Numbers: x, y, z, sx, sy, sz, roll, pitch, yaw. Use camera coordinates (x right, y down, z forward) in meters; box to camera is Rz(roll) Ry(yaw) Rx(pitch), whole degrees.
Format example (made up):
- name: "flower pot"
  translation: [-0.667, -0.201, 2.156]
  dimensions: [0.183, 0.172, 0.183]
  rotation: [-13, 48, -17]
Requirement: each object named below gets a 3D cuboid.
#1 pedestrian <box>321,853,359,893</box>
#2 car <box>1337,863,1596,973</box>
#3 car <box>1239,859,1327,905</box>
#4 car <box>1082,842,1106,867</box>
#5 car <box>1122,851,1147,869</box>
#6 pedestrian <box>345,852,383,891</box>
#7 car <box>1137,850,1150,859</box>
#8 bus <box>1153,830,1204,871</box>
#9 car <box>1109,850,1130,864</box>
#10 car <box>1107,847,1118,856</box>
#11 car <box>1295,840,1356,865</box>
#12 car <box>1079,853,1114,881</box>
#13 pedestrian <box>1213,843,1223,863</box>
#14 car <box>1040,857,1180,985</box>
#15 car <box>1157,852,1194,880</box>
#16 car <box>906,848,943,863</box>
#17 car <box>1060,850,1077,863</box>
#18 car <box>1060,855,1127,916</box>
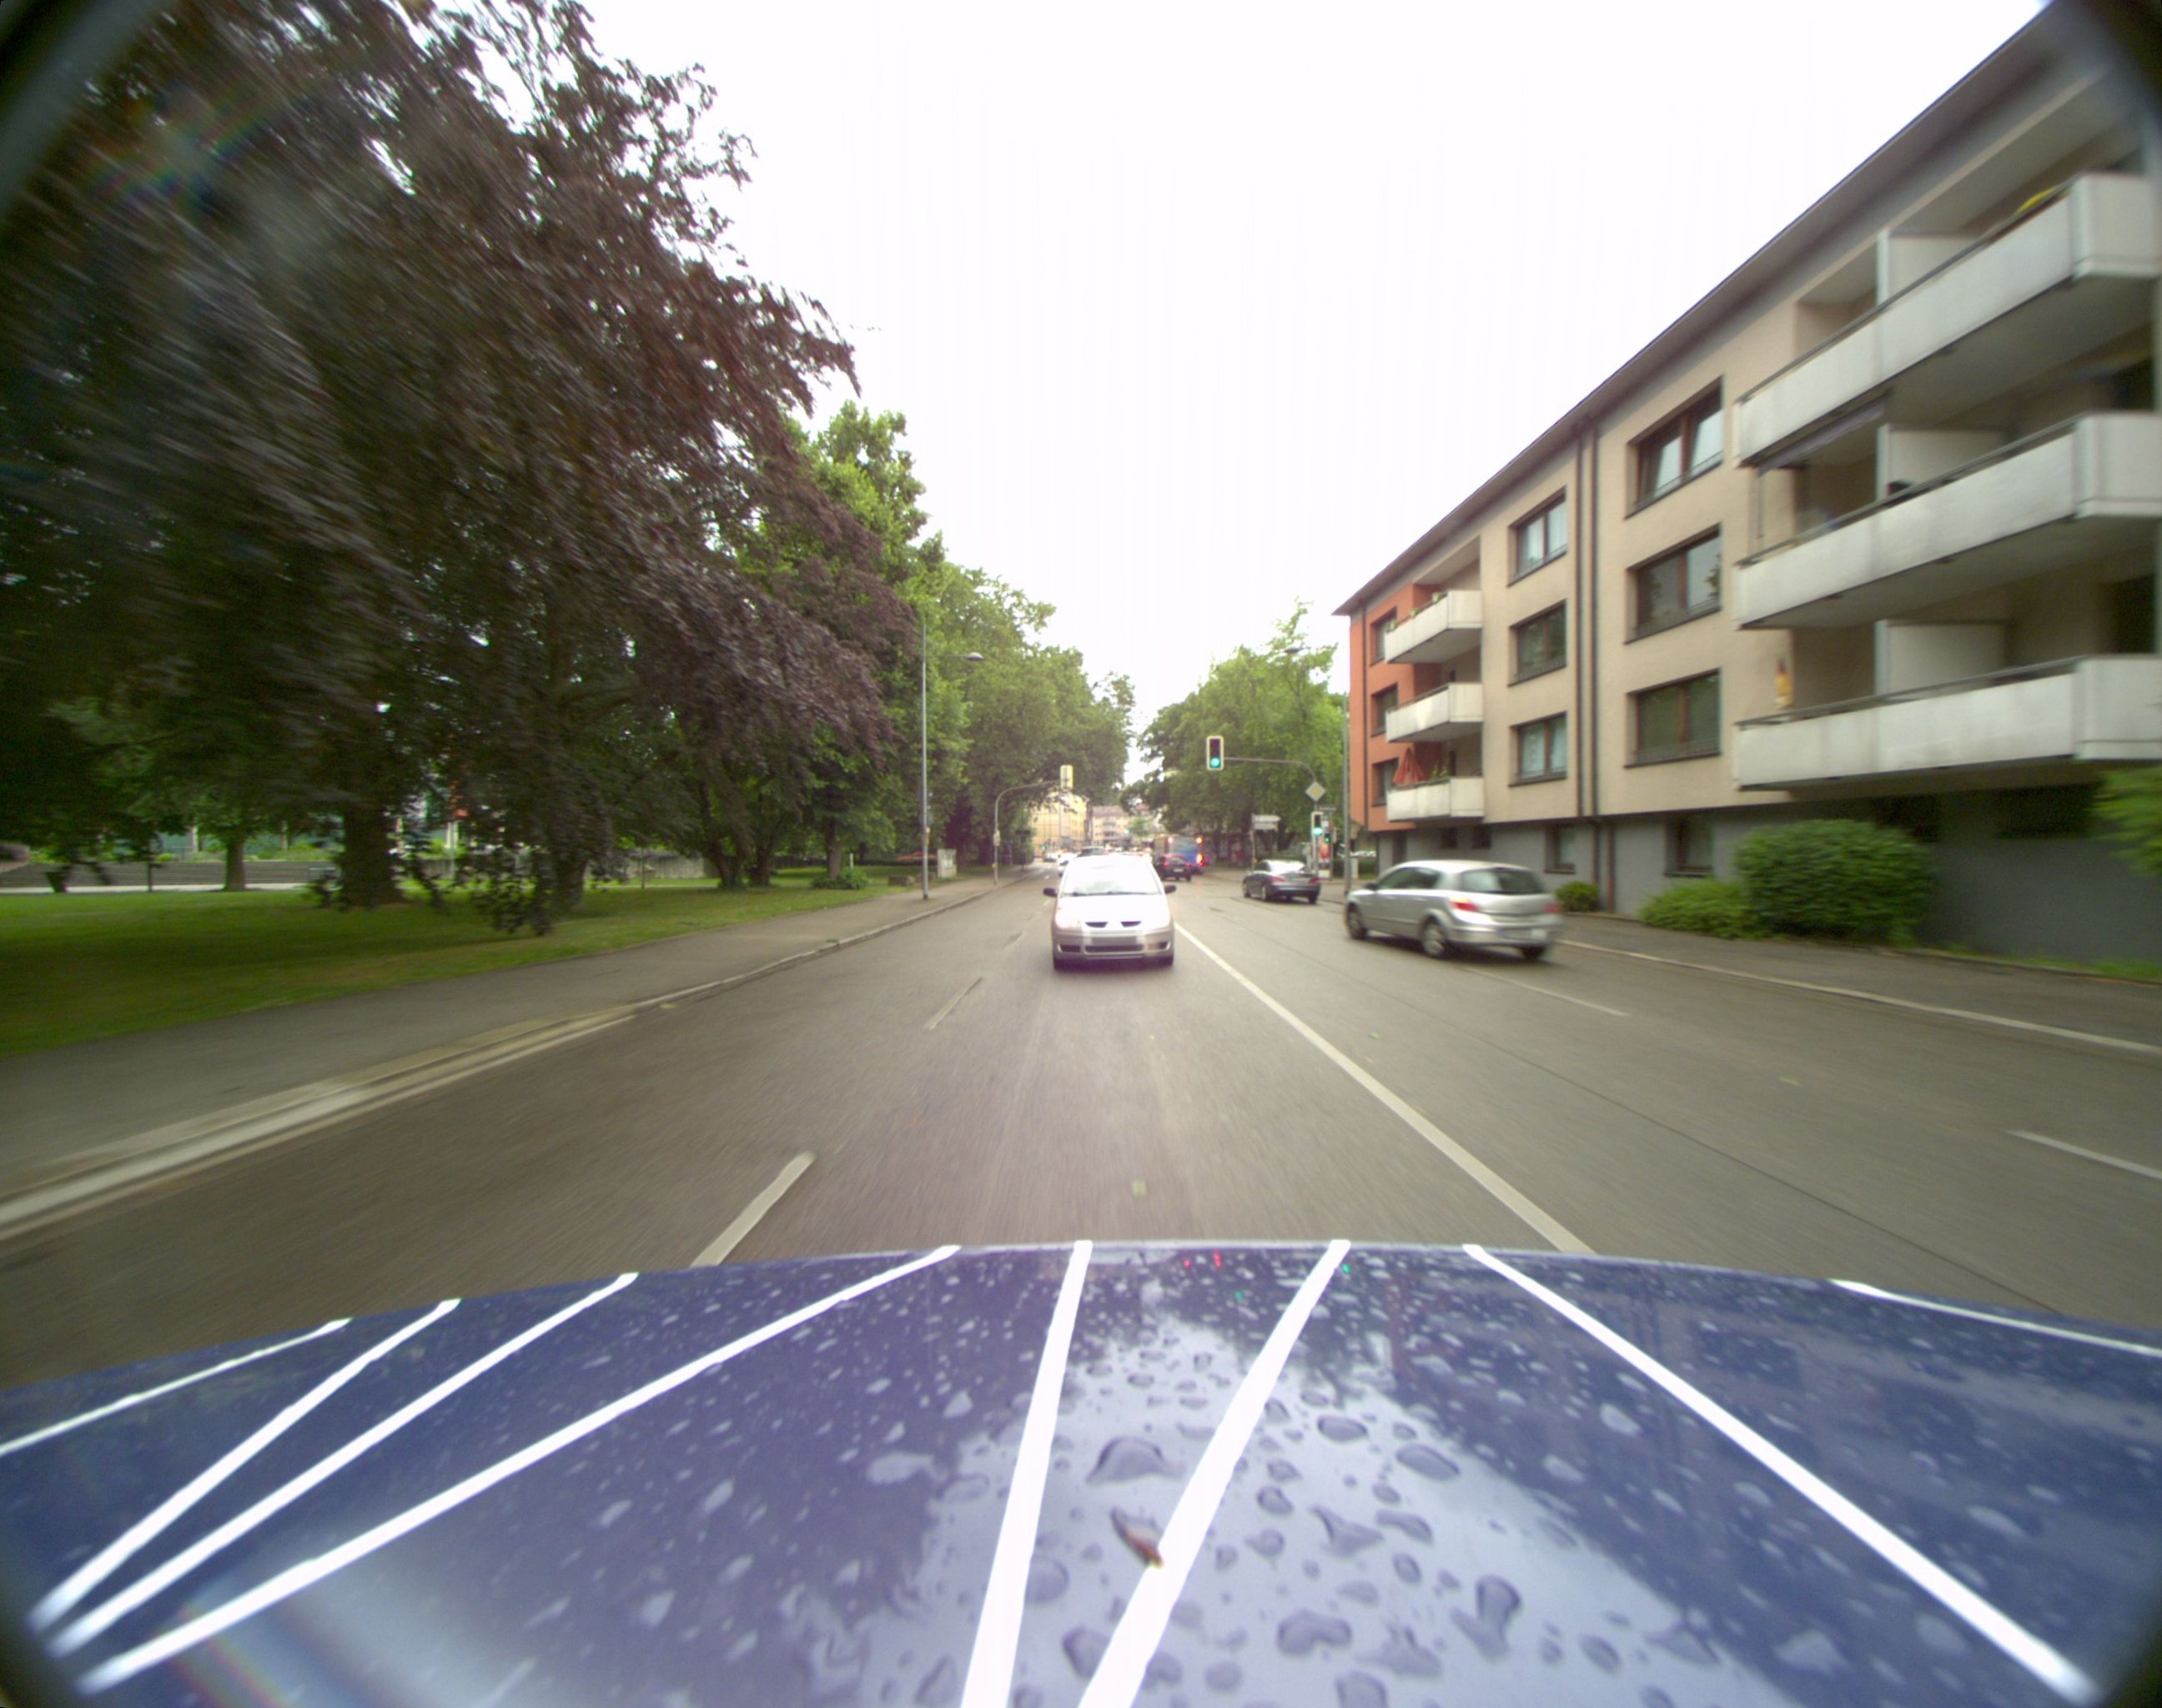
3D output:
- name: "pedestrian"
  translation: [-33.828, 0.862, 34.702]
  dimensions: [0.840, 1.753, 0.771]
  rotation: [-3, 1, -5]
- name: "car"
  translation: [5.829, 0.881, 12.141]
  dimensions: [1.818, 1.407, 4.046]
  rotation: [0, 0, -5]
- name: "car"
  translation: [6.879, 0.909, 26.393]
  dimensions: [1.817, 1.407, 4.682]
  rotation: [0, 0, 0]
- name: "car"
  translation: [1.134, 0.022, 66.120]
  dimensions: [2.037, 2.119, 3.999]
  rotation: [-1, 1, 2]
- name: "car"
  translation: [4.401, 0.478, 62.752]
  dimensions: [1.798, 1.407, 4.335]
  rotation: [0, 0, 0]
- name: "pedestrian"
  translation: [-33.667, 0.800, 35.701]
  dimensions: [0.840, 1.753, 0.879]
  rotation: [-3, 1, -5]
- name: "car"
  translation: [10.917, 0.153, 133.405]
  dimensions: [1.802, 1.508, 4.807]
  rotation: [1, 0, 0]
- name: "bus"
  translation: [7.673, -0.343, 61.285]
  dimensions: [2.700, 2.923, 12.082]
  rotation: [0, 1, 1]
- name: "car"
  translation: [4.115, 0.317, 80.347]
  dimensions: [1.799, 1.449, 4.493]
  rotation: [1, 0, 8]
- name: "car"
  translation: [5.584, -0.439, 136.331]
  dimensions: [1.802, 1.508, 4.580]
  rotation: [1, 0, 0]
- name: "car"
  translation: [19.570, -0.115, 60.814]
  dimensions: [4.334, 1.911, 1.702]
  rotation: [0, 1, -2]
- name: "car"
  translation: [0.859, 0.669, 41.937]
  dimensions: [1.800, 1.449, 4.491]
  rotation: [0, 0, 2]
- name: "pedestrian"
  translation: [12.140, -0.068, 67.343]
  dimensions: [0.711, 1.759, 0.687]
  rotation: [-3, 1, 1]
- name: "car"
  translation: [0.390, 0.869, 12.097]
  dimensions: [1.718, 1.509, 4.806]
  rotation: [-2, 0, 0]
- name: "car"
  translation: [5.457, 0.661, 44.106]
  dimensions: [1.691, 1.483, 3.890]
  rotation: [1, 0, 0]
- name: "car"
  translation: [-18.363, 0.172, 89.246]
  dimensions: [3.998, 1.706, 1.999]
  rotation: [0, 1, -2]
- name: "car"
  translation: [-1.501, 0.336, 94.866]
  dimensions: [1.906, 1.538, 3.999]
  rotation: [-1, 1, 2]
- name: "car"
  translation: [0.343, 0.830, 21.723]
  dimensions: [1.718, 1.509, 4.088]
  rotation: [-1, 0, 0]
